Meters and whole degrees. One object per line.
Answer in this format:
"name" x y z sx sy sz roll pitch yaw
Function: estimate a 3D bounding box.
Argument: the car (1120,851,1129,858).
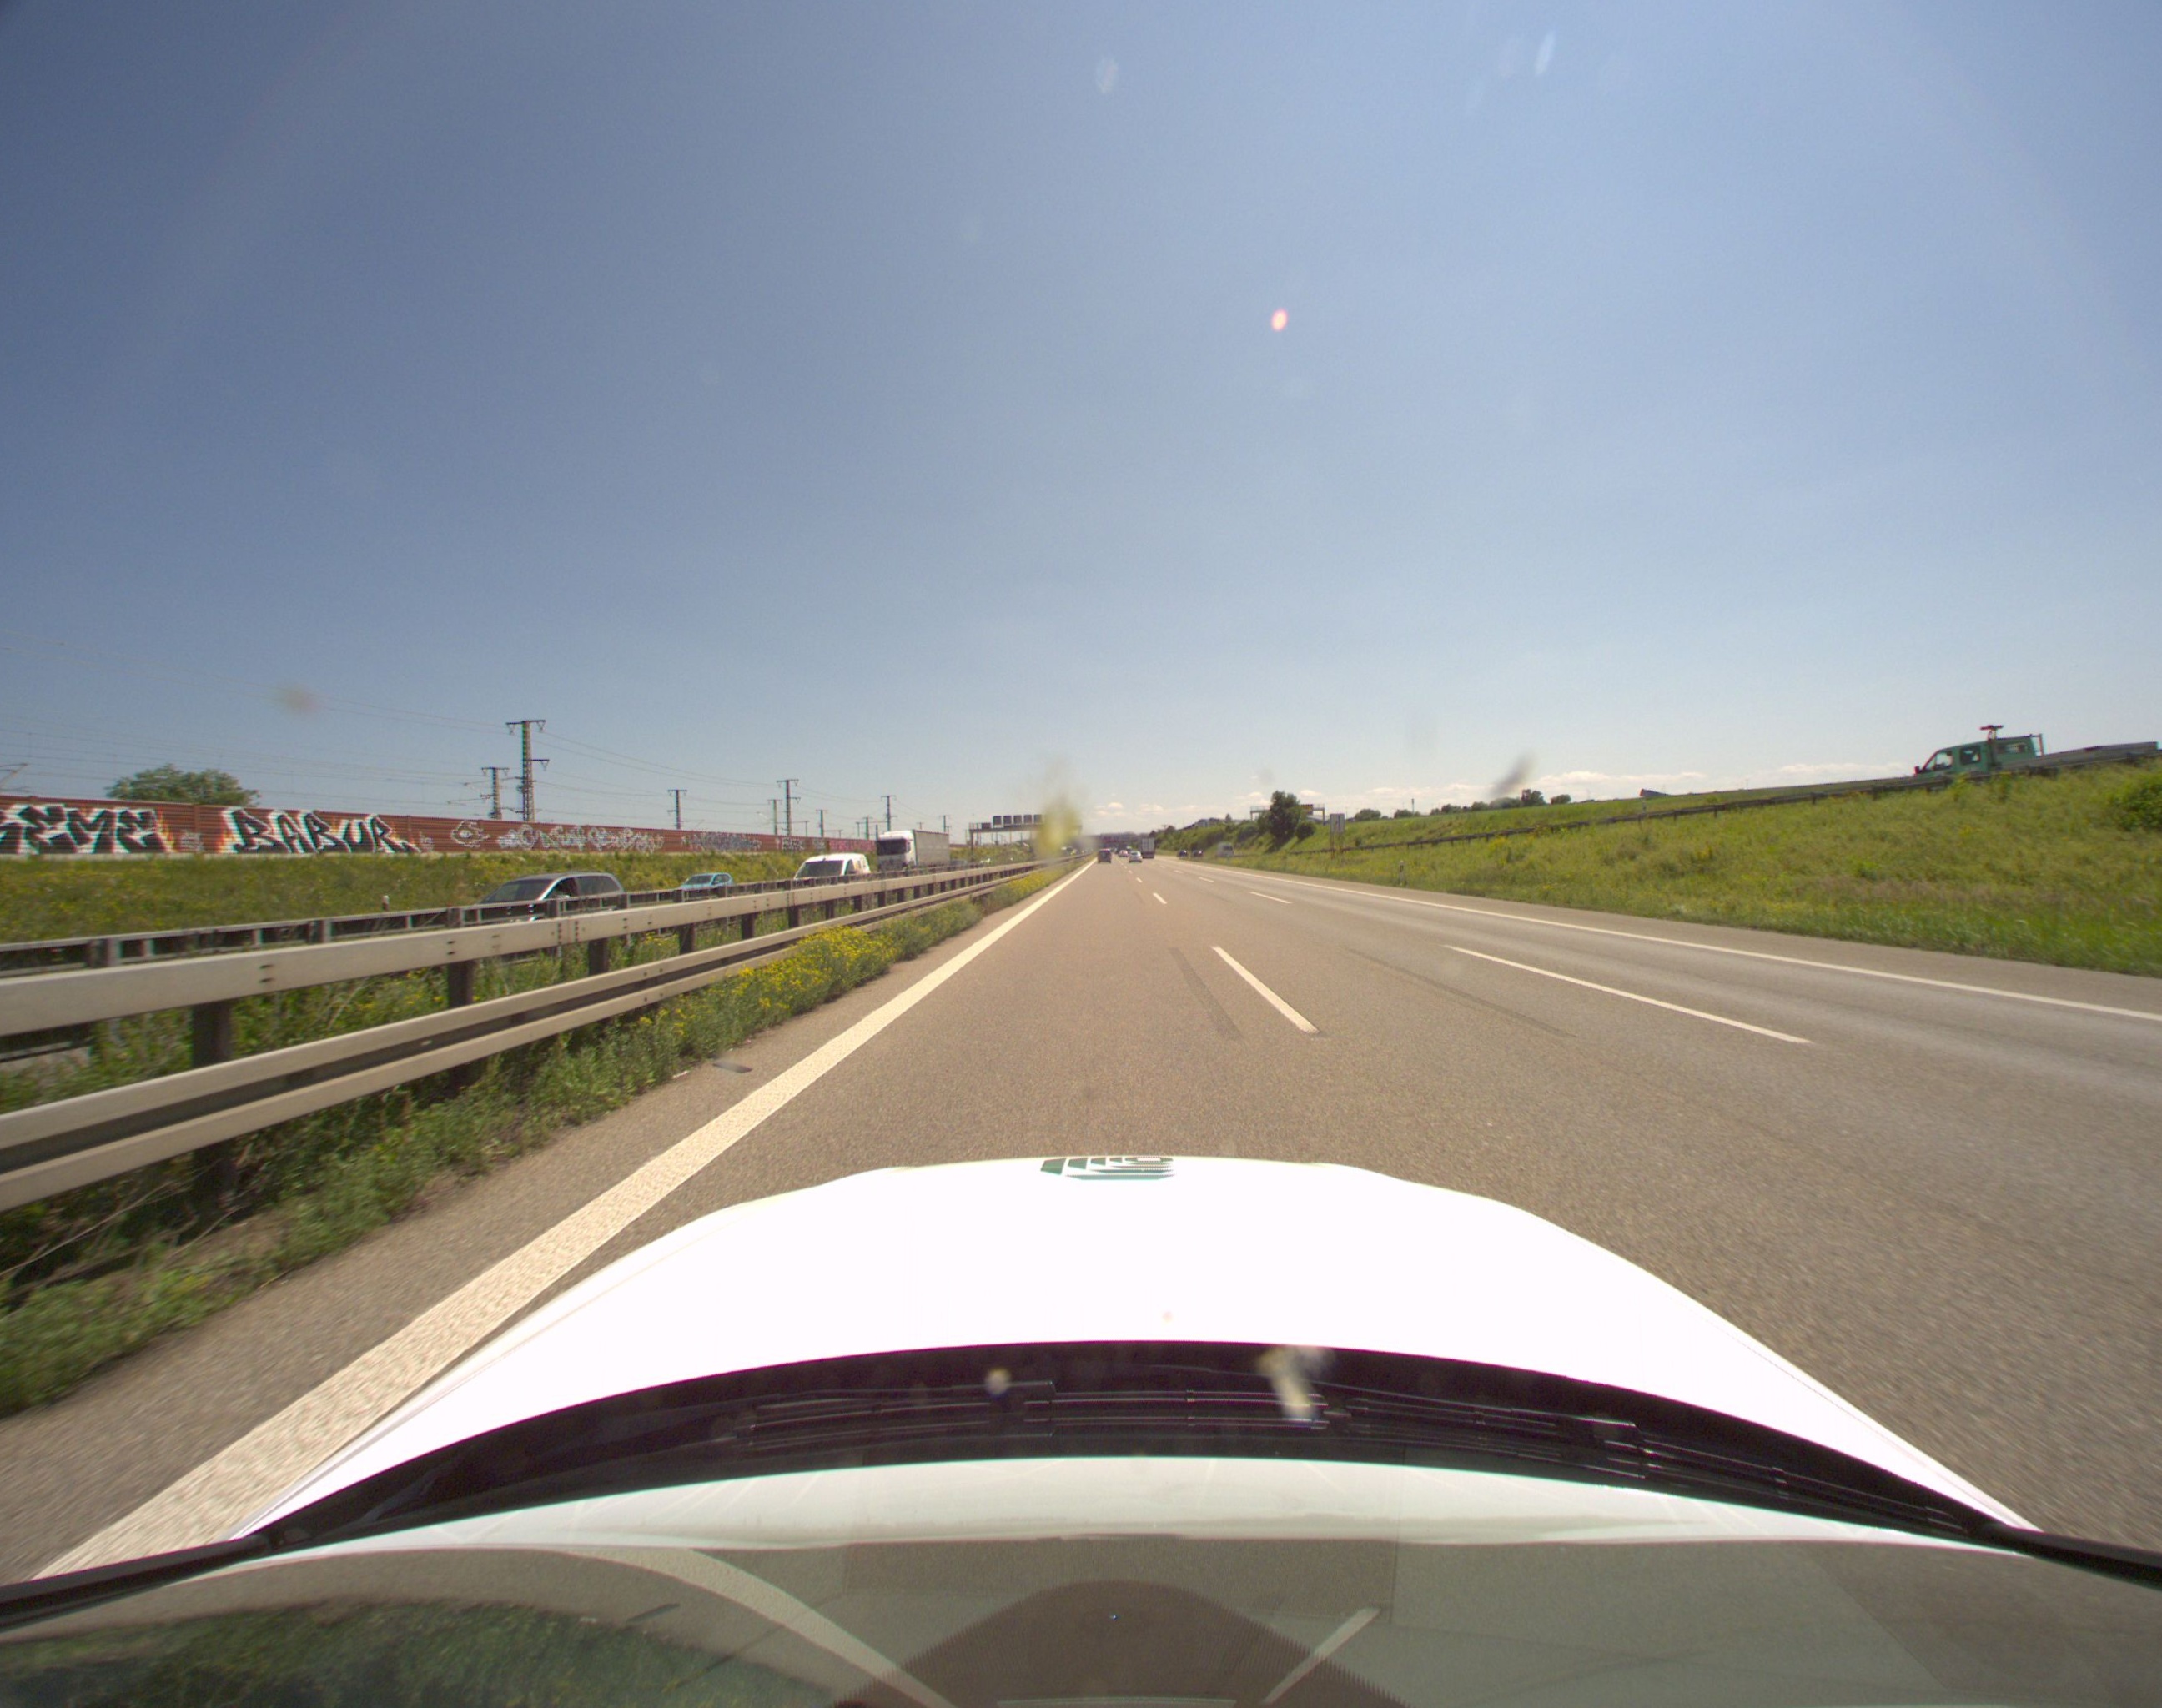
"car" 9.345 0.129 176.194 1.873 1.526 4.003 -1 -1 3

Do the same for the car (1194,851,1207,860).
"car" 22.903 0.318 156.449 1.987 1.508 3.998 0 -1 -1

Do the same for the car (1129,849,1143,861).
"car" 7.444 0.137 109.552 1.872 1.526 4.005 -1 -1 5

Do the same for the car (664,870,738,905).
"car" -18.719 1.607 40.296 1.747 1.519 3.838 -1 0 2

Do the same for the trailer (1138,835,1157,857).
"trailer" 12.738 -1.518 156.513 3.165 4.059 9.444 -2 0 2

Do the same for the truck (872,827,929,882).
"truck" -14.262 0.002 64.779 2.719 4.072 6.385 -2 0 3

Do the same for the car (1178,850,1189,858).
"car" 22.199 -0.047 176.570 1.986 1.596 4.001 0 -1 1

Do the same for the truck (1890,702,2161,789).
"truck" 31.382 -3.481 27.306 2.160 2.092 6.110 -1 0 -4

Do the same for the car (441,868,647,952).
"car" -12.396 1.204 19.225 1.809 1.647 4.364 -1 0 2

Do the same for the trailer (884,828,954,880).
"trailer" -13.947 -0.014 71.458 2.719 4.074 13.538 -2 0 3

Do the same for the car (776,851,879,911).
"car" -8.256 0.807 27.022 1.809 1.785 4.541 -1 0 2

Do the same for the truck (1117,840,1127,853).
"truck" 11.023 -1.886 218.755 2.346 3.416 6.060 -1 0 2

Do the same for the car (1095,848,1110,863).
"car" 2.883 0.203 107.219 1.873 1.775 4.002 -2 -1 2

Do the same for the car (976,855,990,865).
"car" -16.275 0.997 135.190 1.714 1.544 3.811 -1 0 2

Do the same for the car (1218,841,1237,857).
"car" 24.538 -0.853 136.840 2.266 2.528 5.400 -1 0 1
